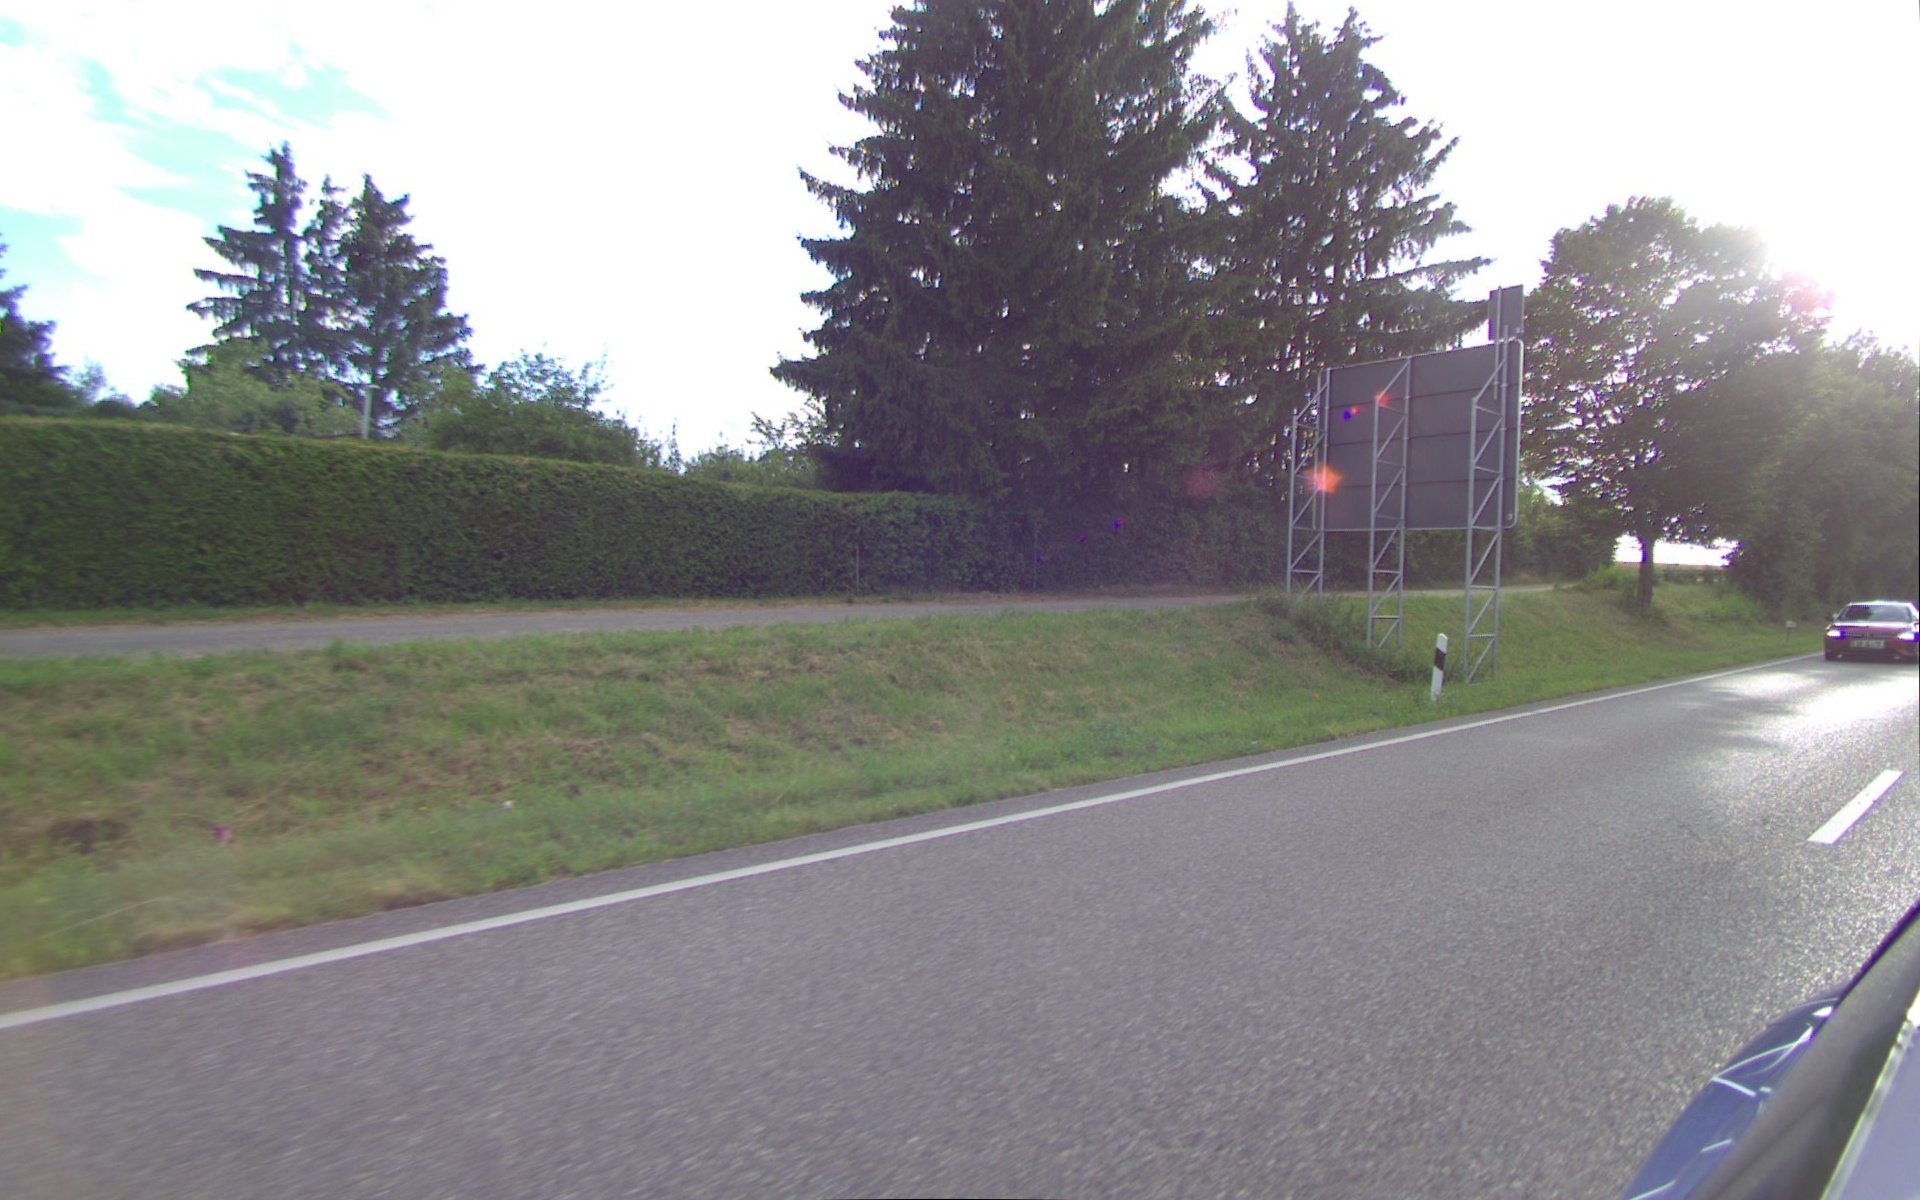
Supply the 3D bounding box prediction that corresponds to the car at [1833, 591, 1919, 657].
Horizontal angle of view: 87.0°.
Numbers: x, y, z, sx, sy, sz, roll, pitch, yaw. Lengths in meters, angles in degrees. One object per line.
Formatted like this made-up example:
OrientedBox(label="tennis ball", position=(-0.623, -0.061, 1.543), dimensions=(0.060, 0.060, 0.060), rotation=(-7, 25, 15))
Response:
OrientedBox(label="car", position=(22.733, 0.571, 24.615), dimensions=(3.661, 1.494, 1.722), rotation=(1, 0, -40))
